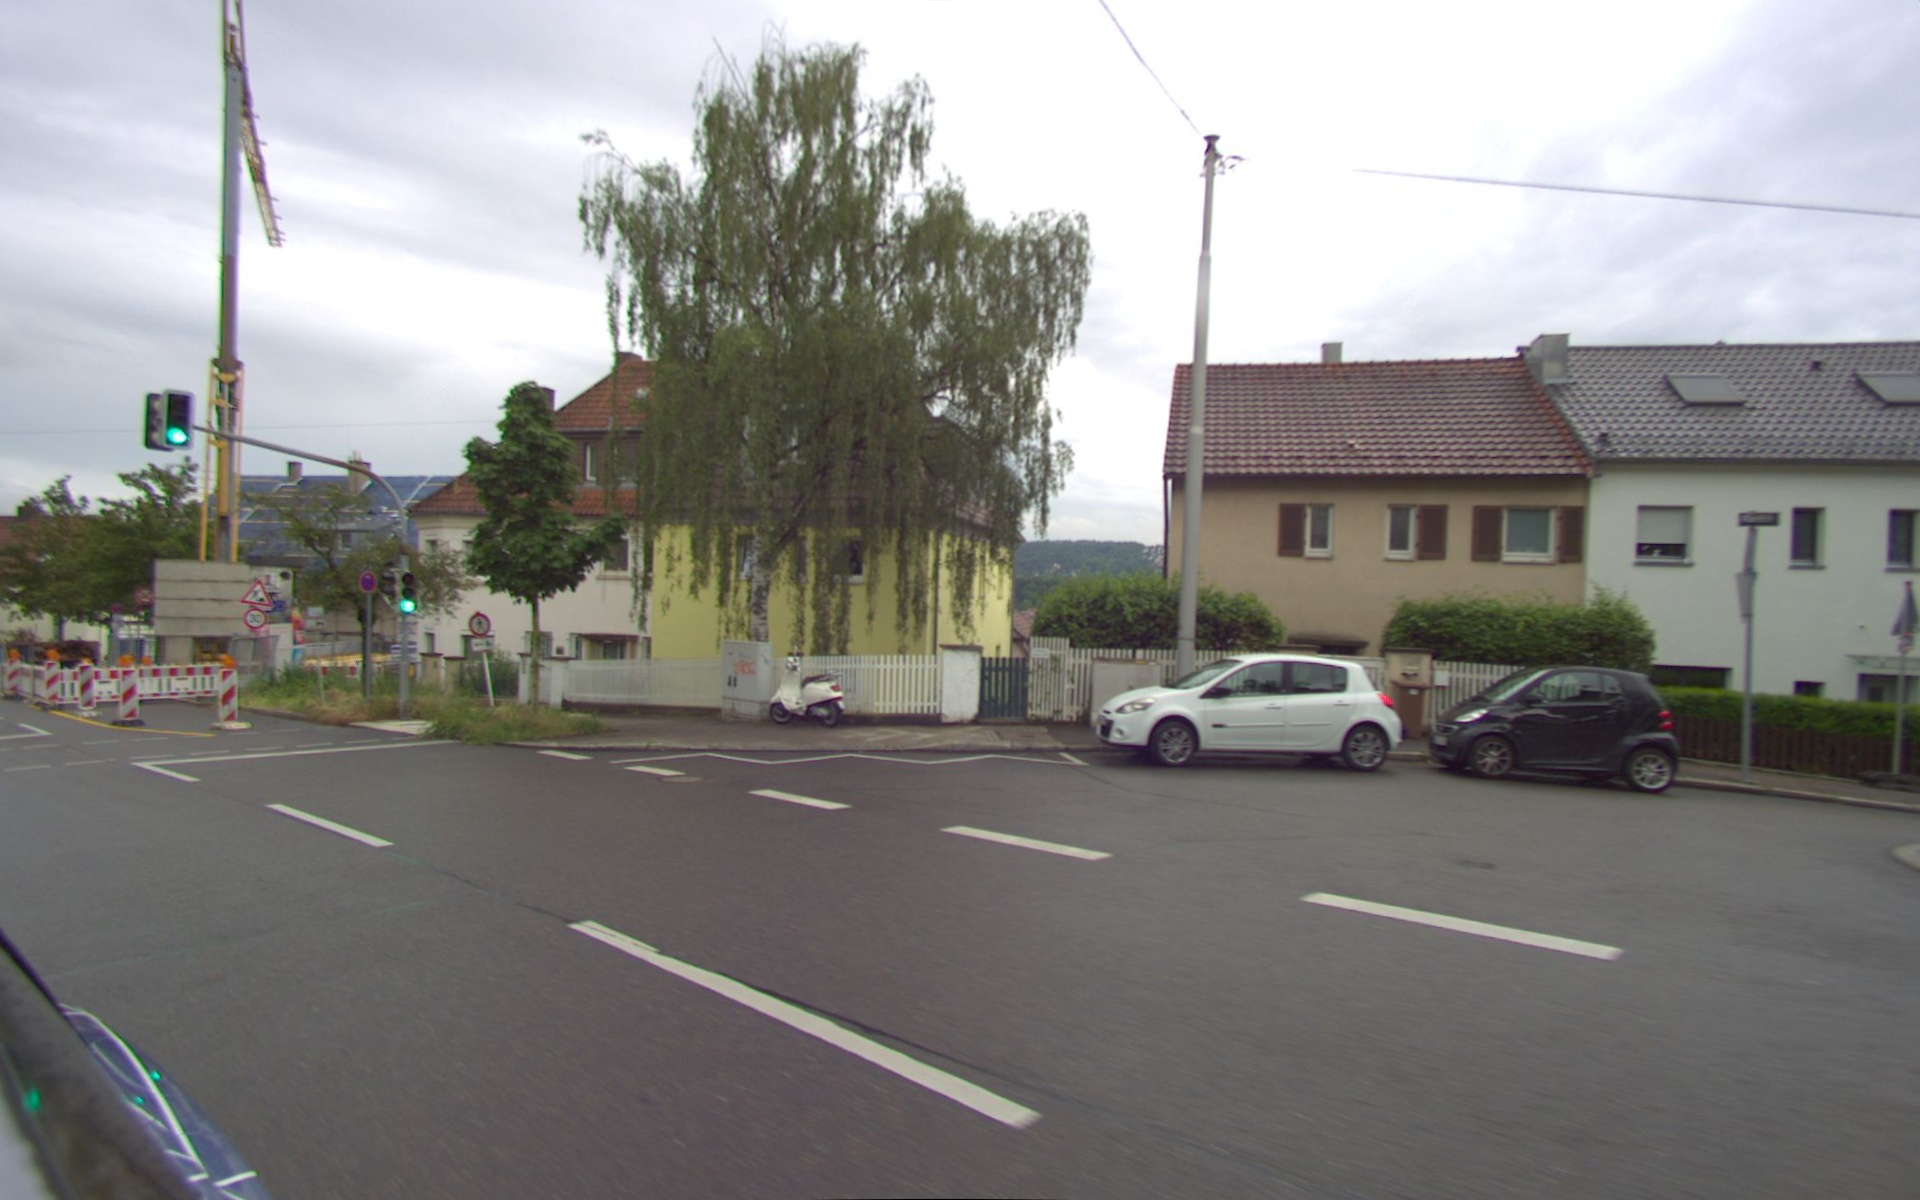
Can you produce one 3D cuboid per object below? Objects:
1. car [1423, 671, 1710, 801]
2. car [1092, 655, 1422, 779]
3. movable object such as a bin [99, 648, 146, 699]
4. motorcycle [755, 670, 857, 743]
[{"bbox_3d":[7.899,1.731,13.437,2.890,1.441,1.559,2,-4,13],"label":"car"},{"bbox_3d":[3.908,1.552,13.784,3.954,1.520,1.689,1,-4,-1],"label":"car"},{"bbox_3d":[-42.831,3.741,51.781,1.374,2.525,1.309,-3,-1,17],"label":"movable object such as a bin"},{"bbox_3d":[-2.577,1.739,16.808,1.841,1.139,0.585,-4,-4,39],"label":"motorcycle"}]
